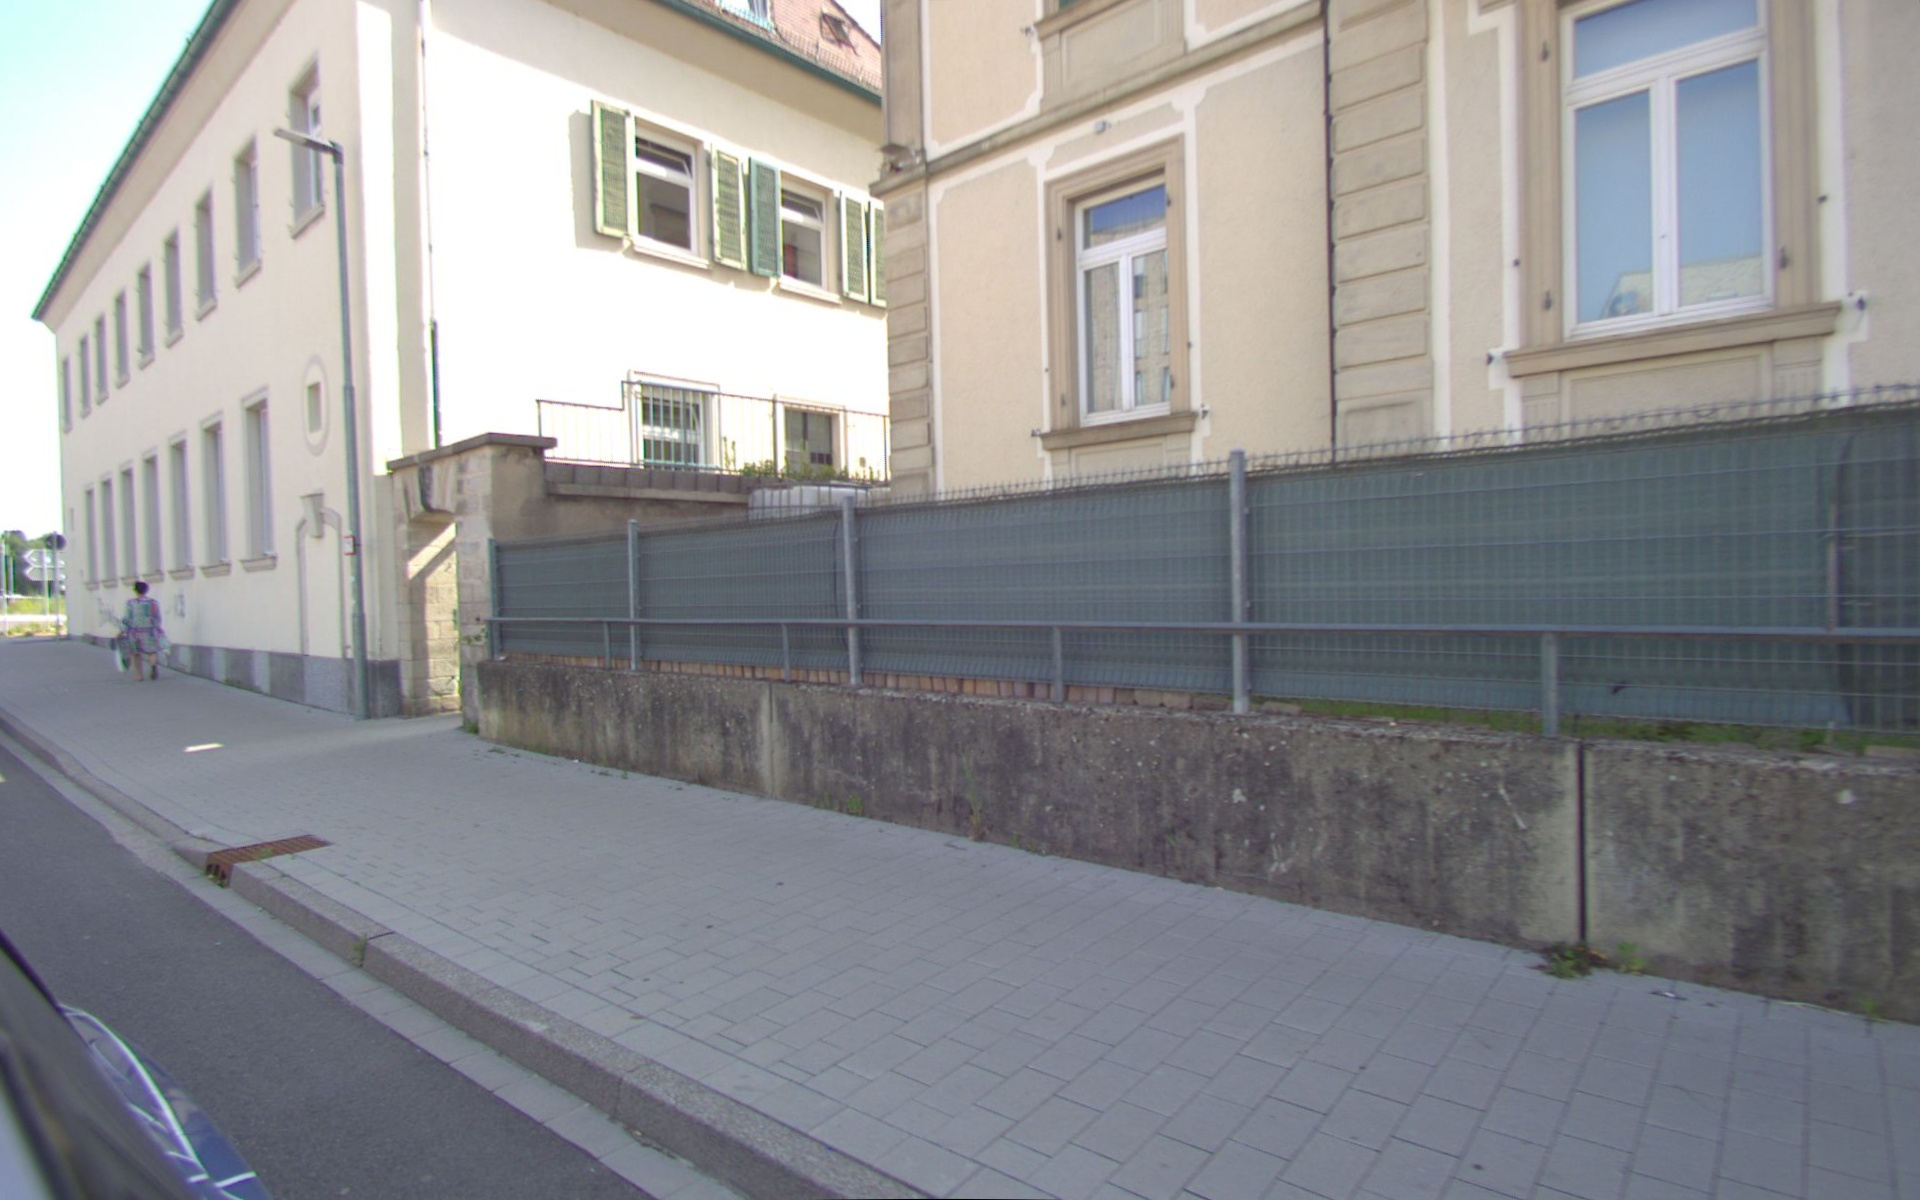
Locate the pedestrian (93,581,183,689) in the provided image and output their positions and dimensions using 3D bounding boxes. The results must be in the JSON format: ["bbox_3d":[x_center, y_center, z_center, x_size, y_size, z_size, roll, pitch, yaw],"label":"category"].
[{"bbox_3d":[-13.275,0.541,16.354,0.758,1.643,0.948,-1,2,41],"label":"pedestrian"}]
